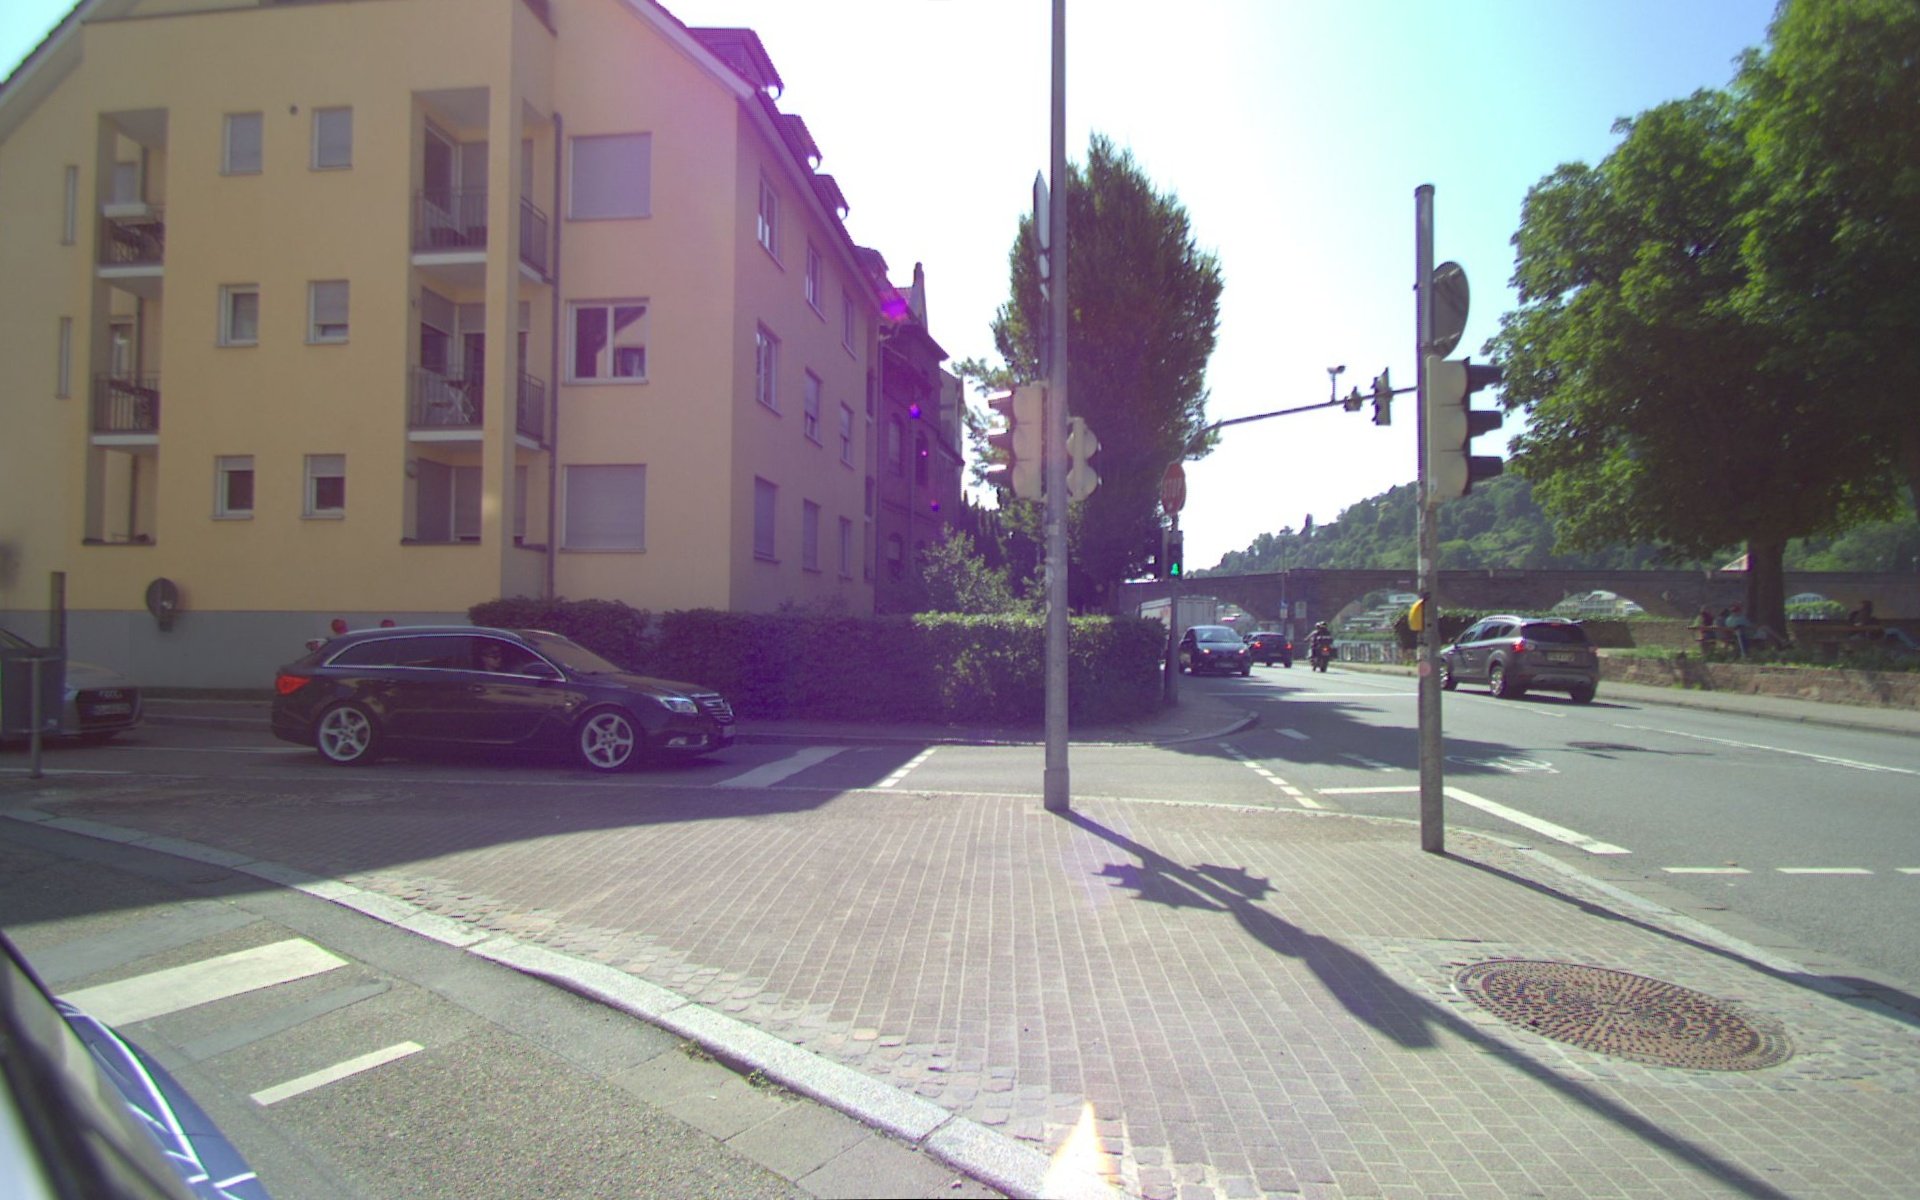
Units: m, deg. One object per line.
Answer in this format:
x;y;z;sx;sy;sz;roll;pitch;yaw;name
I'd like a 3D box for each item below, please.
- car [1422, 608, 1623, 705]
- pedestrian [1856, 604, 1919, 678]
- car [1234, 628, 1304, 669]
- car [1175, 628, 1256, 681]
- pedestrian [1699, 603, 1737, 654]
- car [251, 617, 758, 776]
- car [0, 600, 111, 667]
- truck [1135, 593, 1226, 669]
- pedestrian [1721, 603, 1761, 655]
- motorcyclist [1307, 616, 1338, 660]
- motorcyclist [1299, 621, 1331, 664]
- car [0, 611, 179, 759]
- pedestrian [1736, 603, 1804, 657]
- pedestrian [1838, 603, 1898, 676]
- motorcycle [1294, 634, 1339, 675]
11.850;1.112;21.712;1.819;1.766;4.408;3;-1;1;car
19.287;0.842;20.715;1.369;1.490;0.467;1;-2;8;pedestrian
12.781;1.969;42.077;1.975;1.608;3.993;0;-2;5;car
7.741;1.607;30.958;1.705;1.510;3.876;0;-2;4;car
19.453;0.722;25.971;0.624;1.280;0.467;1;-2;8;pedestrian
-4.687;0.991;10.844;4.662;1.473;1.718;1;-4;3;car
-23.013;0.783;24.227;1.830;1.556;3.993;0;-1;6;car
13.539;1.953;63.404;3.170;4.246;12.759;0;-2;1;truck
19.352;0.721;25.092;0.624;1.280;0.467;1;-2;8;pedestrian
12.545;1.316;35.011;0.807;1.504;0.773;1;-2;1;motorcyclist
12.540;1.492;35.764;0.807;1.506;0.874;0;0;1;motorcyclist
-11.645;0.867;11.399;4.325;1.504;1.875;1;-2;3;car
19.601;0.722;24.507;1.209;1.280;0.467;1;-2;8;pedestrian
19.099;0.834;21.290;0.795;1.504;0.467;1;-2;8;pedestrian
12.567;1.891;35.749;0.753;1.387;2.470;1;-2;1;motorcycle
